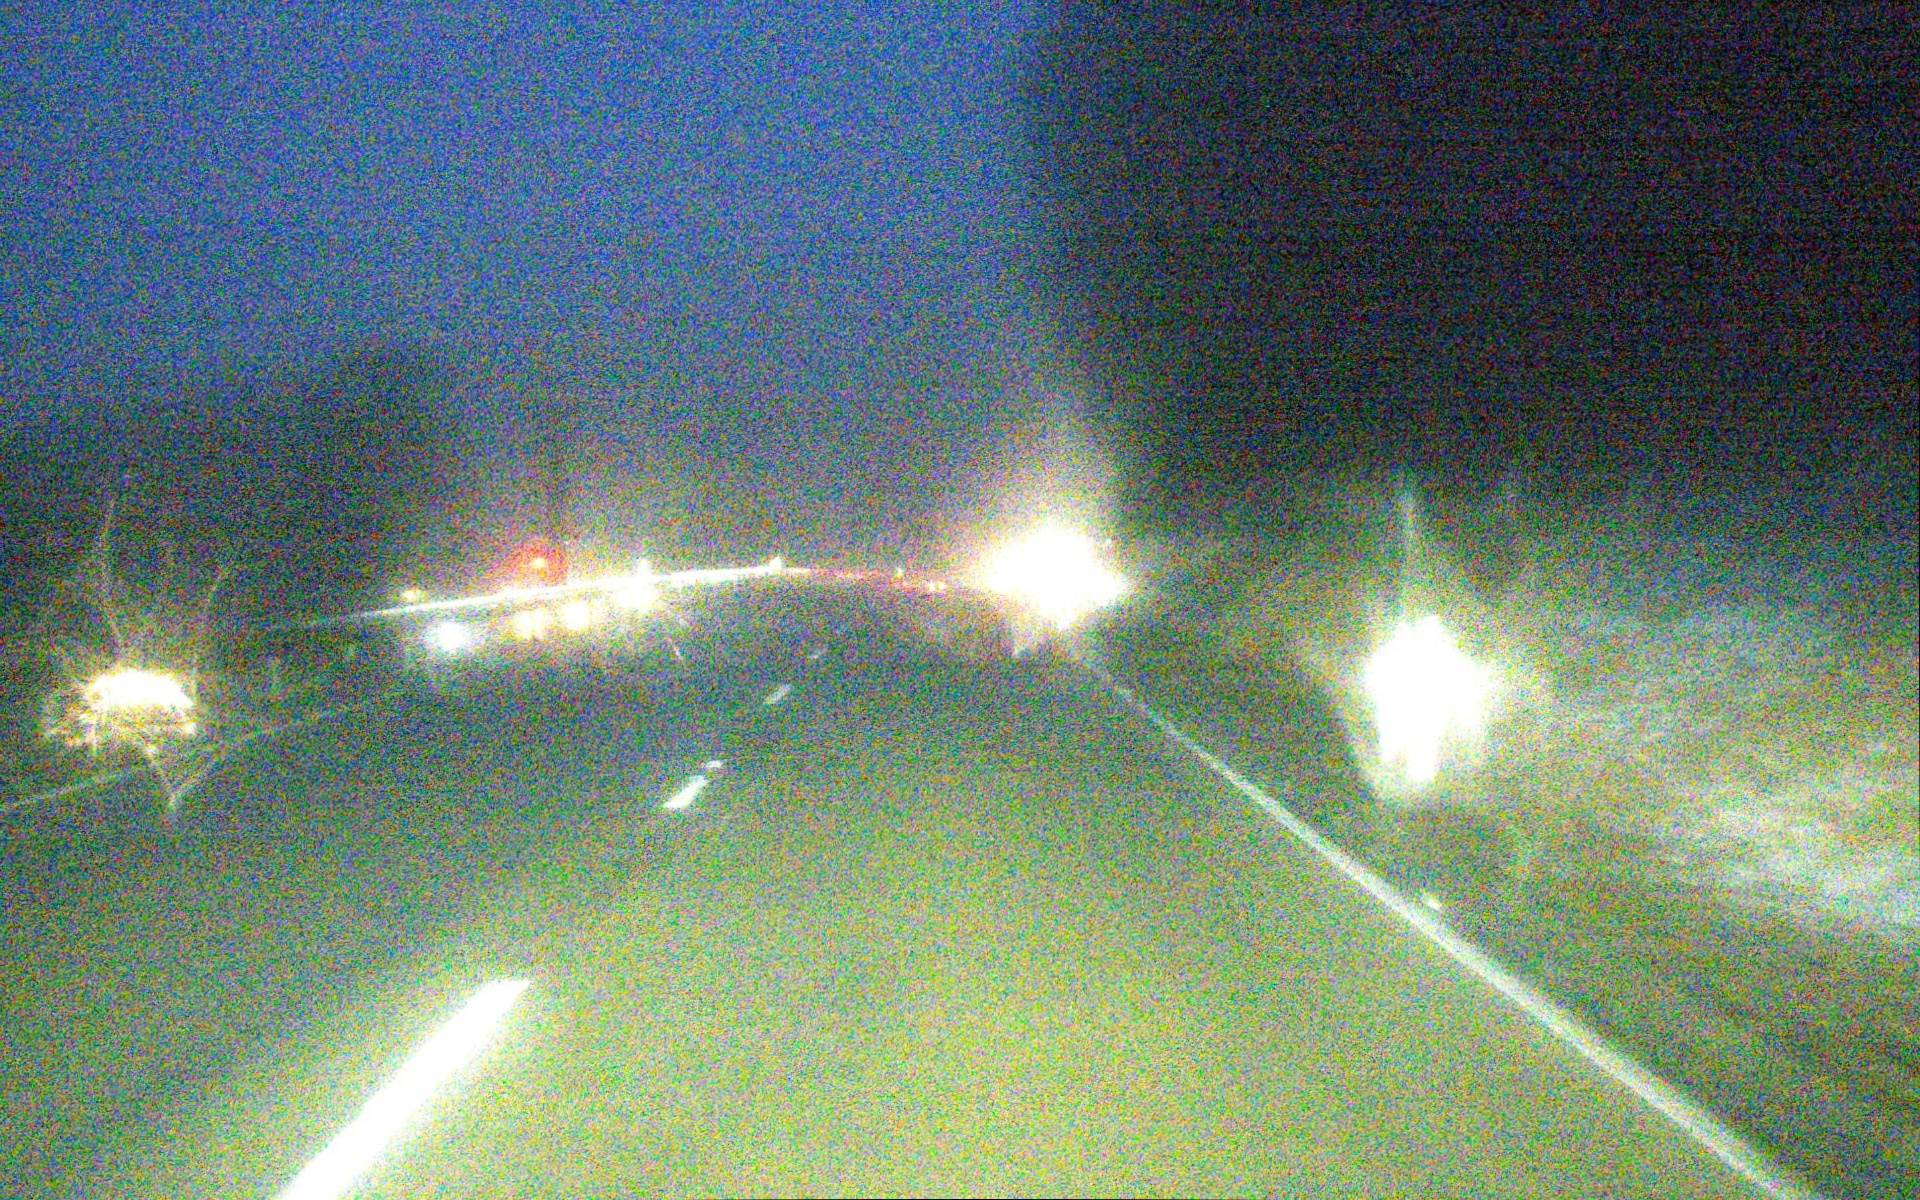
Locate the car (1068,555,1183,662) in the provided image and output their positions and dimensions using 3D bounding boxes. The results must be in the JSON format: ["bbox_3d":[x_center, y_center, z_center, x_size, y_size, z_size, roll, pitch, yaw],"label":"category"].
[{"bbox_3d":[3.296,0.204,69.162,2.197,2.007,4.206,1,-2,2],"label":"car"}]
